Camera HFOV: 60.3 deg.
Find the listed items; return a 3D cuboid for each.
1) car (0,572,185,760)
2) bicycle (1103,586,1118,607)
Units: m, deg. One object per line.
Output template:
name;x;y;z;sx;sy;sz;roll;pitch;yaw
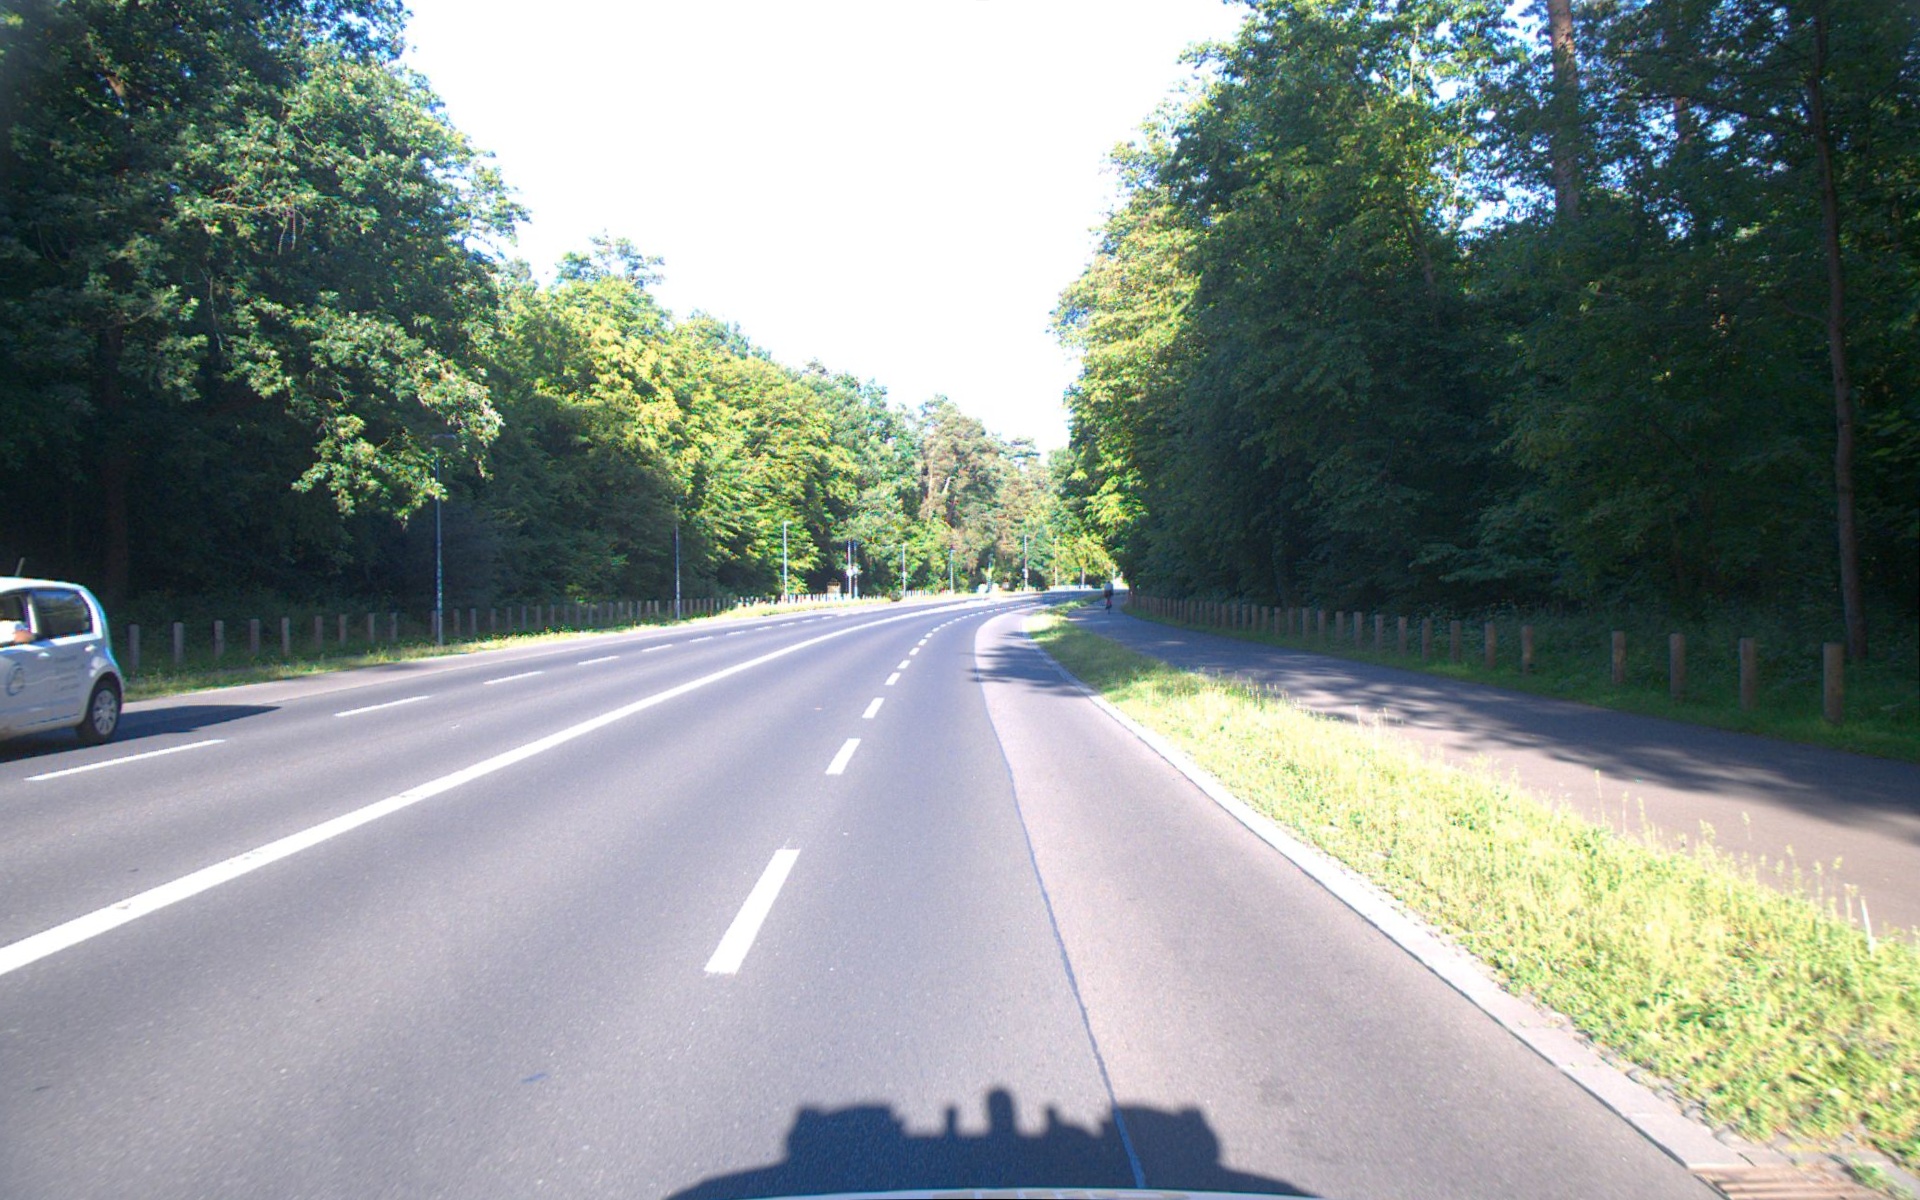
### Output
car;-8.419;0.509;14.129;1.555;1.462;4.309;1;1;0
bicycle;7.735;-0.200;84.973;0.697;1.074;2.054;0;1;6
